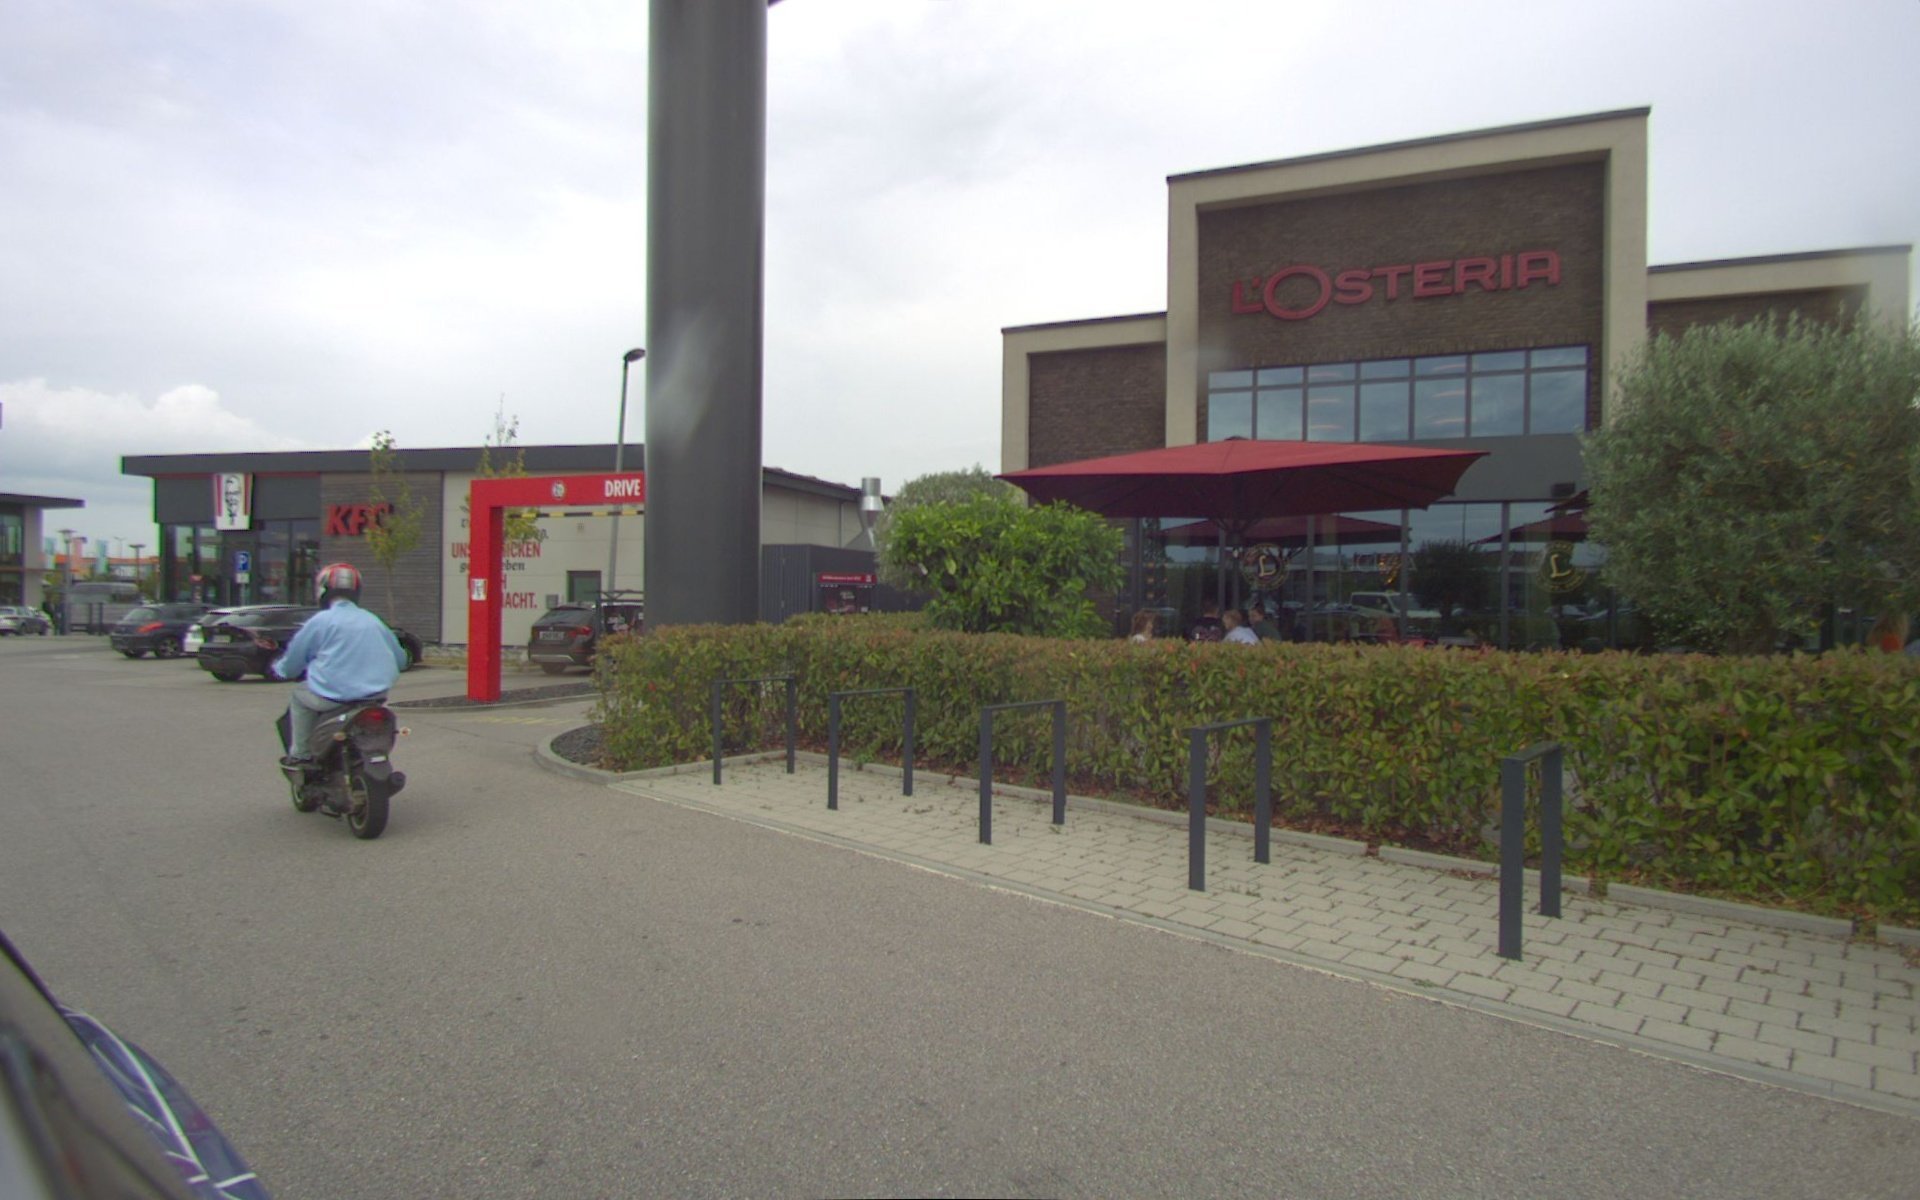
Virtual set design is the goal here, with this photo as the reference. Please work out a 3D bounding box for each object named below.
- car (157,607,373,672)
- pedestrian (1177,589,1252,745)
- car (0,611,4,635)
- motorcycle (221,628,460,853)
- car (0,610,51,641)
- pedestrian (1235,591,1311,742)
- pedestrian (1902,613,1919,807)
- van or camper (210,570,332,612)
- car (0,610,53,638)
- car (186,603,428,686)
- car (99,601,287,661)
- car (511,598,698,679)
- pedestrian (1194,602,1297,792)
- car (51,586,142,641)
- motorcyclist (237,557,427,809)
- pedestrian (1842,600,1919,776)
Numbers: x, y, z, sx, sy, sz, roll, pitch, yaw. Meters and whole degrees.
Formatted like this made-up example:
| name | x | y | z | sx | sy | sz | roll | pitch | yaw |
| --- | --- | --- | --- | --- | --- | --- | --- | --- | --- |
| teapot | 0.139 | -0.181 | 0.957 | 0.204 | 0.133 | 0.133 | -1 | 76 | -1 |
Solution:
| name | x | y | z | sx | sy | sz | roll | pitch | yaw |
| --- | --- | --- | --- | --- | --- | --- | --- | --- | --- |
| car | -17.491 | 0.941 | 25.718 | 1.987 | 1.497 | 4.148 | -1 | -1 | 23 |
| pedestrian | 2.988 | 0.773 | 11.926 | 0.694 | 1.761 | 0.742 | 1 | -2 | 3 |
| car | -62.580 | 1.513 | 64.049 | 1.759 | 1.497 | 4.014 | 2 | 0 | -24 |
| motorcycle | -4.109 | 0.822 | 6.649 | 1.920 | 1.217 | 0.784 | 0 | 0 | 41 |
| car | -45.473 | 1.228 | 48.517 | 1.658 | 1.462 | 4.013 | 0 | -1 | -24 |
| pedestrian | 3.782 | 0.795 | 12.273 | 0.694 | 1.761 | 0.742 | 1 | -2 | 3 |
| pedestrian | 9.199 | 1.014 | 9.327 | 0.732 | 1.761 | 0.704 | 3 | -3 | -45 |
| van or camper | -46.504 | -0.593 | 68.492 | 6.460 | 2.721 | 2.179 | -1 | -1 | -20 |
| car | -51.862 | 1.300 | 54.568 | 4.040 | 1.478 | 1.785 | 0 | -3 | -28 |
| car | -13.627 | 0.855 | 21.411 | 1.730 | 1.540 | 4.093 | 0 | 0 | 22 |
| car | -21.587 | 0.822 | 28.658 | 1.747 | 1.498 | 3.910 | -1 | 1 | 23 |
| car | -7.703 | 0.772 | 22.339 | 1.724 | 1.608 | 3.970 | 0 | 0 | 22 |
| pedestrian | 2.794 | 0.916 | 9.903 | 0.742 | 1.761 | 0.694 | -1 | -3 | 41 |
| car | -43.063 | 0.702 | 50.667 | 2.037 | 2.572 | 7.035 | 0 | -1 | -29 |
| motorcyclist | -4.123 | 0.493 | 6.646 | 0.941 | 1.500 | 0.819 | 0 | 0 | 41 |
| pedestrian | 9.685 | 0.892 | 10.527 | 0.732 | 1.761 | 0.704 | 3 | -3 | -45 |
